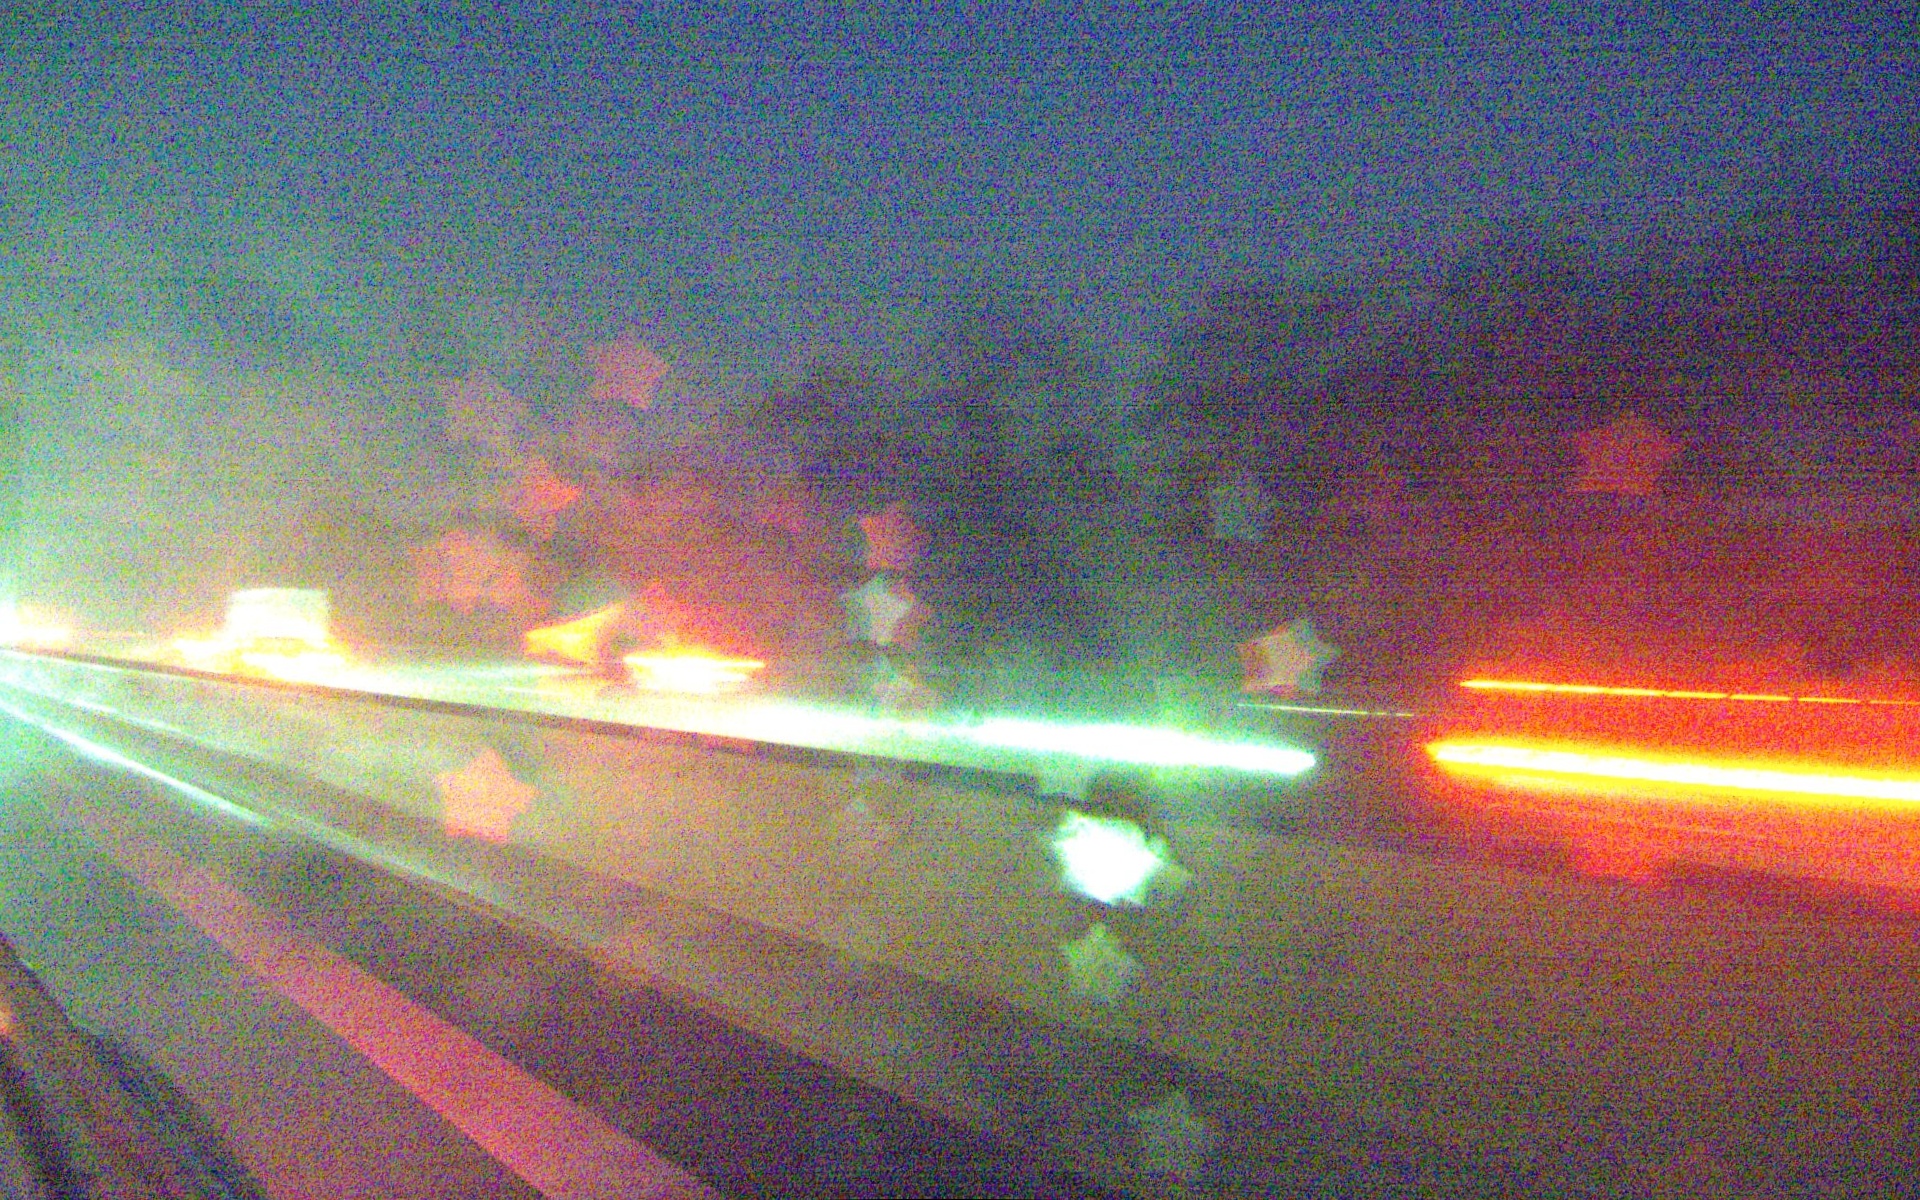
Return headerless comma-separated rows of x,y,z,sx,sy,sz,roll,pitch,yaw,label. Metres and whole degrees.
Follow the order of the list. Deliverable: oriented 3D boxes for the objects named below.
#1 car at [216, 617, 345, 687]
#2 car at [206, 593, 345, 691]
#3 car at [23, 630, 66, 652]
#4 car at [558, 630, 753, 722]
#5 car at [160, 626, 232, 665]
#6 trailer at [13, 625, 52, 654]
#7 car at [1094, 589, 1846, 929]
-18.263,1.349,27.132,3.999,1.697,1.896,0,-3,42,car
-37.012,2.240,54.481,10.592,4.765,3.666,-3,-1,42,car
-72.200,3.248,79.790,4.807,1.675,1.972,-2,-3,42,car
-6.590,1.534,21.641,4.505,1.697,1.896,0,-3,42,car
-35.586,2.109,47.116,3.999,1.697,1.896,0,-3,42,car
-130.785,5.550,142.674,8.697,3.930,2.827,-2,-3,40,trailer
3.382,0.842,7.293,4.505,1.697,1.896,0,-3,42,car
